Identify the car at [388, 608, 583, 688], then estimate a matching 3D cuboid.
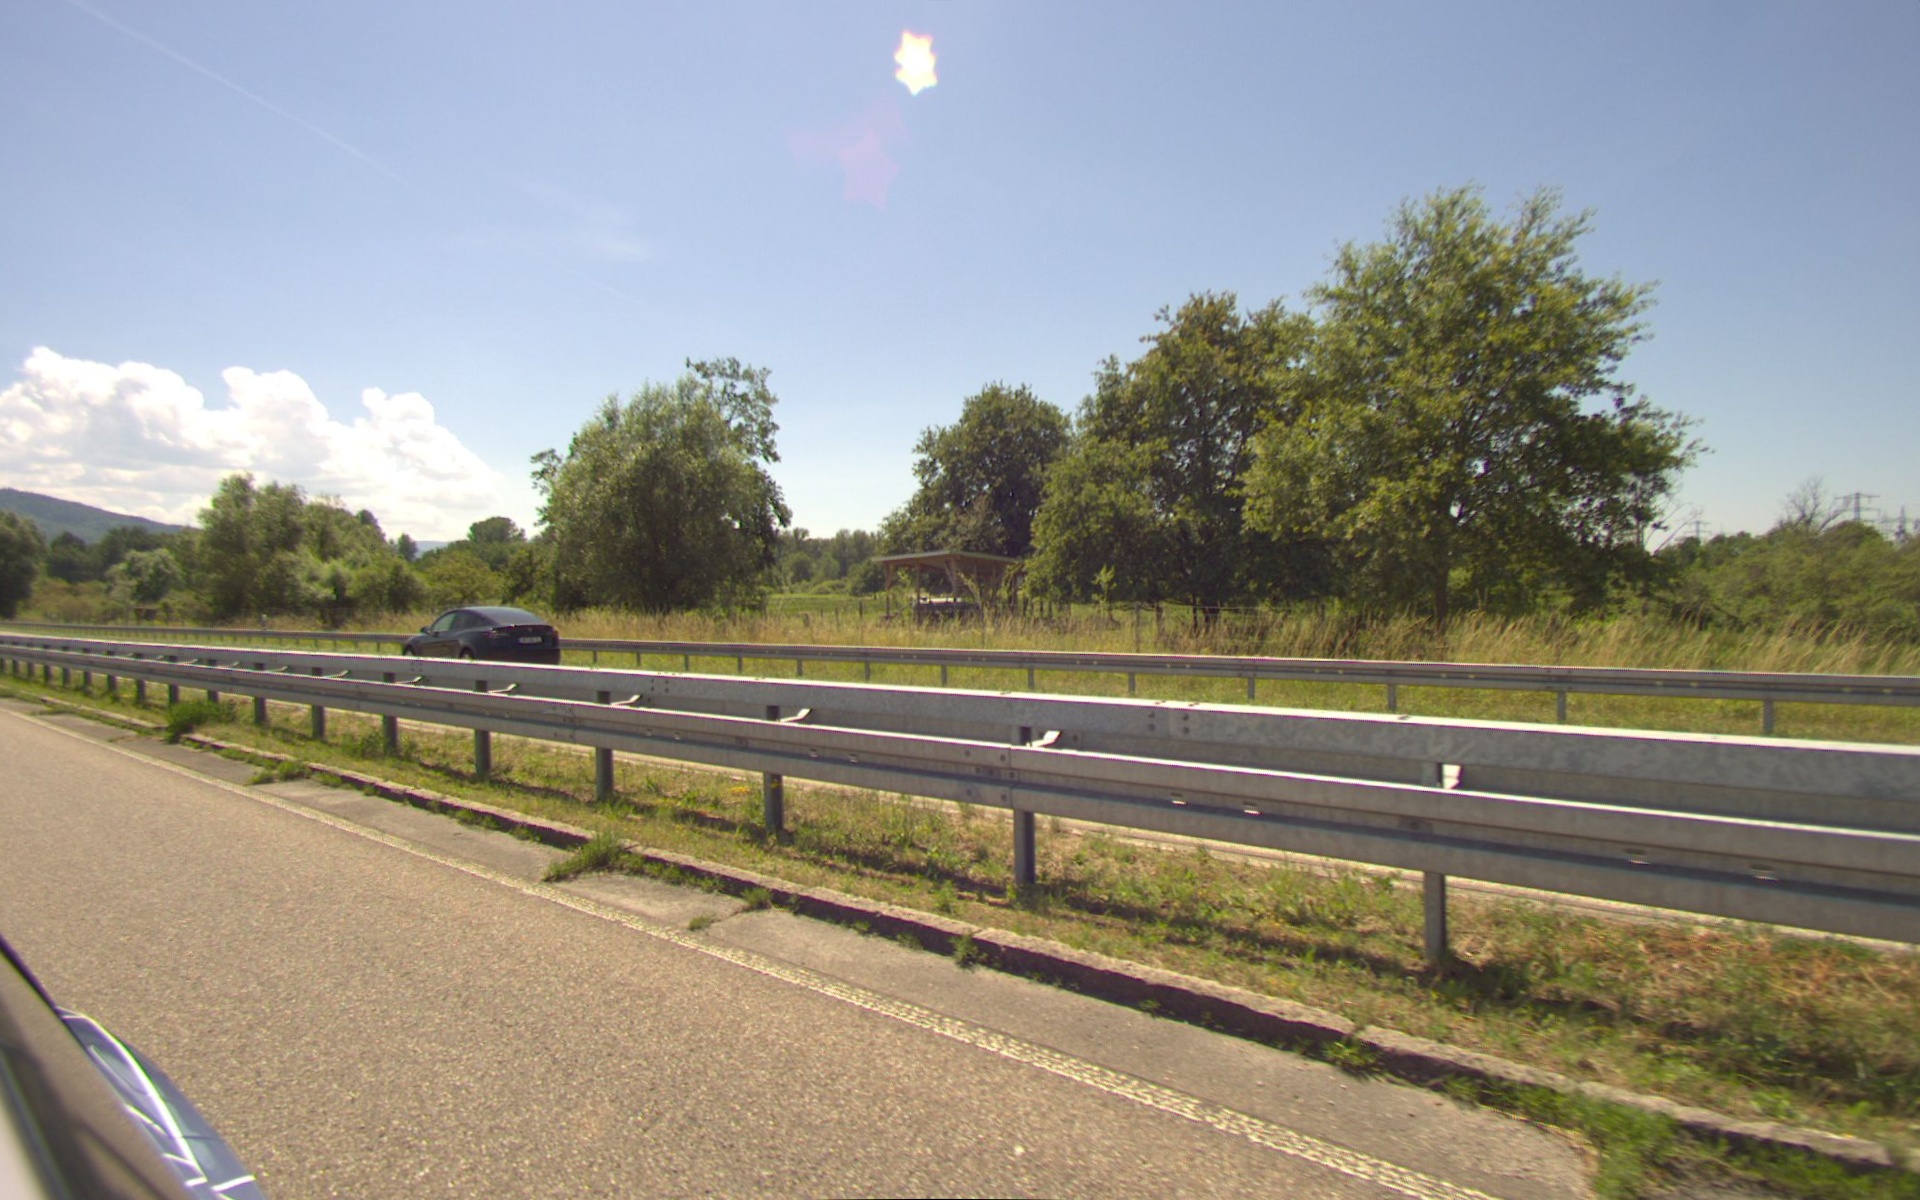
[{"bbox_3d":[-10.786,1.026,22.862,4.955,1.620,1.975,-1,-1,38],"label":"car"}]
